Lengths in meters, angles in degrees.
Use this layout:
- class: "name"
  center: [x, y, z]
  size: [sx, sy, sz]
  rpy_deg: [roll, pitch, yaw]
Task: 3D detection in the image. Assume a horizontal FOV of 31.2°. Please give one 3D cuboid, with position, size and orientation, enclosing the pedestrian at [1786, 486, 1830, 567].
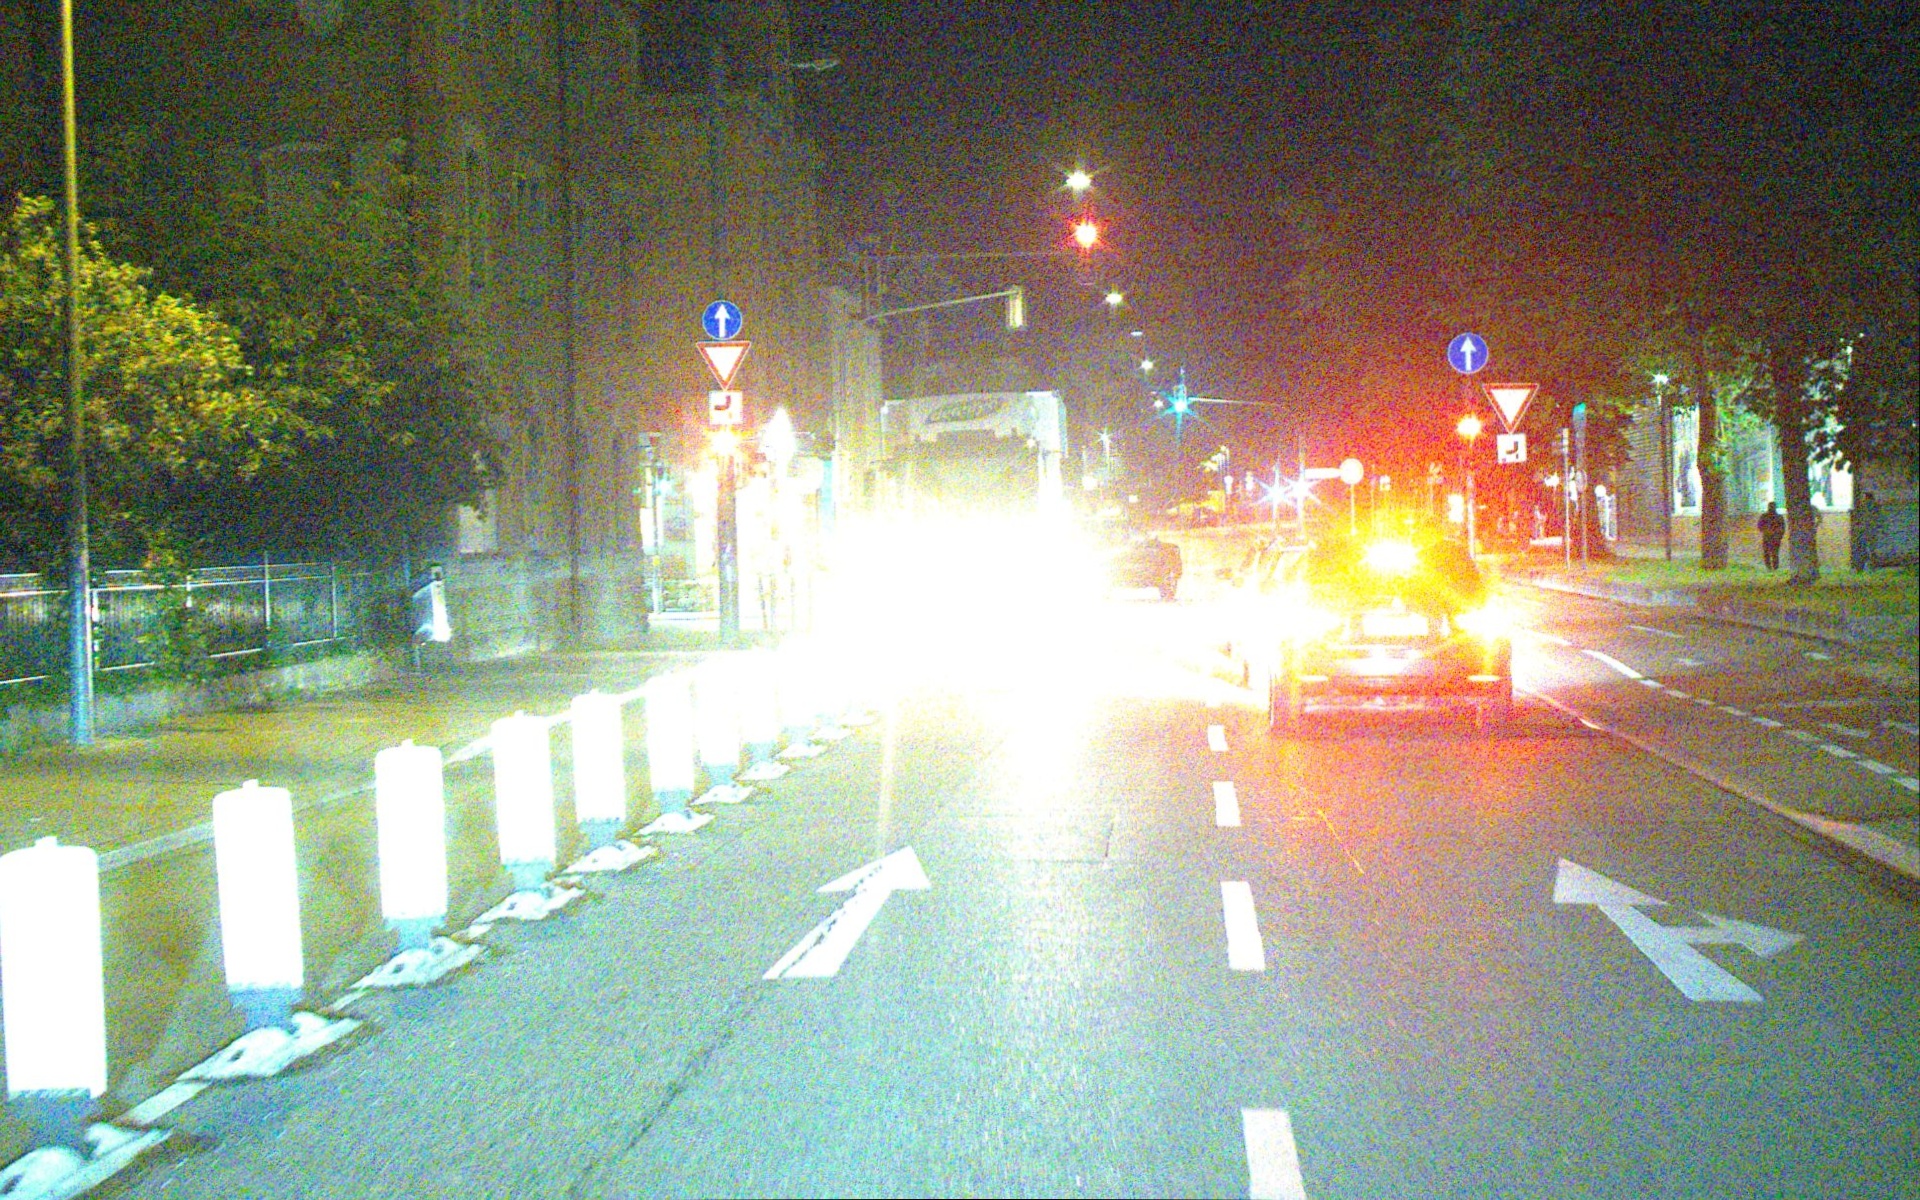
- class: "pedestrian"
  center: [18.920, -1.634, 76.691]
  size: [0.739, 1.763, 0.907]
  rpy_deg: [-2, 1, 4]

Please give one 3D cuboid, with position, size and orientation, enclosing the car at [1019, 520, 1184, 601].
- class: "car"
  center: [3.111, -0.872, 74.639]
  size: [1.996, 1.634, 3.994]
  rpy_deg: [-1, 1, 28]

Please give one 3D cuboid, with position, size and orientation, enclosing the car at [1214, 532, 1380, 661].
- class: "car"
  center: [3.945, -0.080, 40.745]
  size: [1.729, 1.430, 4.210]
  rpy_deg: [0, 1, 2]

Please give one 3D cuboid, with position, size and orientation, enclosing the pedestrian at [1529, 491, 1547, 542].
- class: "pedestrian"
  center: [22.863, -3.297, 135.984]
  size: [0.531, 2.007, 0.670]
  rpy_deg: [-2, 1, 3]

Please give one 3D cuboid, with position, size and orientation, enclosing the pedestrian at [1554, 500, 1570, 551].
- class: "pedestrian"
  center: [23.816, -2.947, 136.044]
  size: [0.488, 2.007, 0.551]
  rpy_deg: [-2, 1, 3]

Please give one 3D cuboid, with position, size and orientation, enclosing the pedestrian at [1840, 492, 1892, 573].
- class: "pedestrian"
  center: [20.286, -1.514, 76.993]
  size: [0.901, 1.763, 0.907]
  rpy_deg: [-2, 1, 4]

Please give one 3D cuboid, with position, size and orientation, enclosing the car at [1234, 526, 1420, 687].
- class: "car"
  center: [3.569, 0.014, 33.965]
  size: [1.637, 1.489, 4.000]
  rpy_deg: [0, 1, 3]

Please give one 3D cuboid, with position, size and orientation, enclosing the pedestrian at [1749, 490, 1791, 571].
- class: "pedestrian"
  center: [18.109, -1.554, 76.857]
  size: [0.714, 1.763, 0.907]
  rpy_deg: [-2, 1, 4]

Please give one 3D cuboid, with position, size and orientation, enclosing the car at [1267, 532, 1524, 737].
- class: "car"
  center: [3.411, 0.207, 27.639]
  size: [1.805, 1.489, 4.729]
  rpy_deg: [0, 1, 4]

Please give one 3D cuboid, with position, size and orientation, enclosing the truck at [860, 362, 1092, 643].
- class: "truck"
  center: [0.410, -1.437, 52.151]
  size: [2.755, 3.705, 10.112]
  rpy_deg: [-3, 1, 4]
